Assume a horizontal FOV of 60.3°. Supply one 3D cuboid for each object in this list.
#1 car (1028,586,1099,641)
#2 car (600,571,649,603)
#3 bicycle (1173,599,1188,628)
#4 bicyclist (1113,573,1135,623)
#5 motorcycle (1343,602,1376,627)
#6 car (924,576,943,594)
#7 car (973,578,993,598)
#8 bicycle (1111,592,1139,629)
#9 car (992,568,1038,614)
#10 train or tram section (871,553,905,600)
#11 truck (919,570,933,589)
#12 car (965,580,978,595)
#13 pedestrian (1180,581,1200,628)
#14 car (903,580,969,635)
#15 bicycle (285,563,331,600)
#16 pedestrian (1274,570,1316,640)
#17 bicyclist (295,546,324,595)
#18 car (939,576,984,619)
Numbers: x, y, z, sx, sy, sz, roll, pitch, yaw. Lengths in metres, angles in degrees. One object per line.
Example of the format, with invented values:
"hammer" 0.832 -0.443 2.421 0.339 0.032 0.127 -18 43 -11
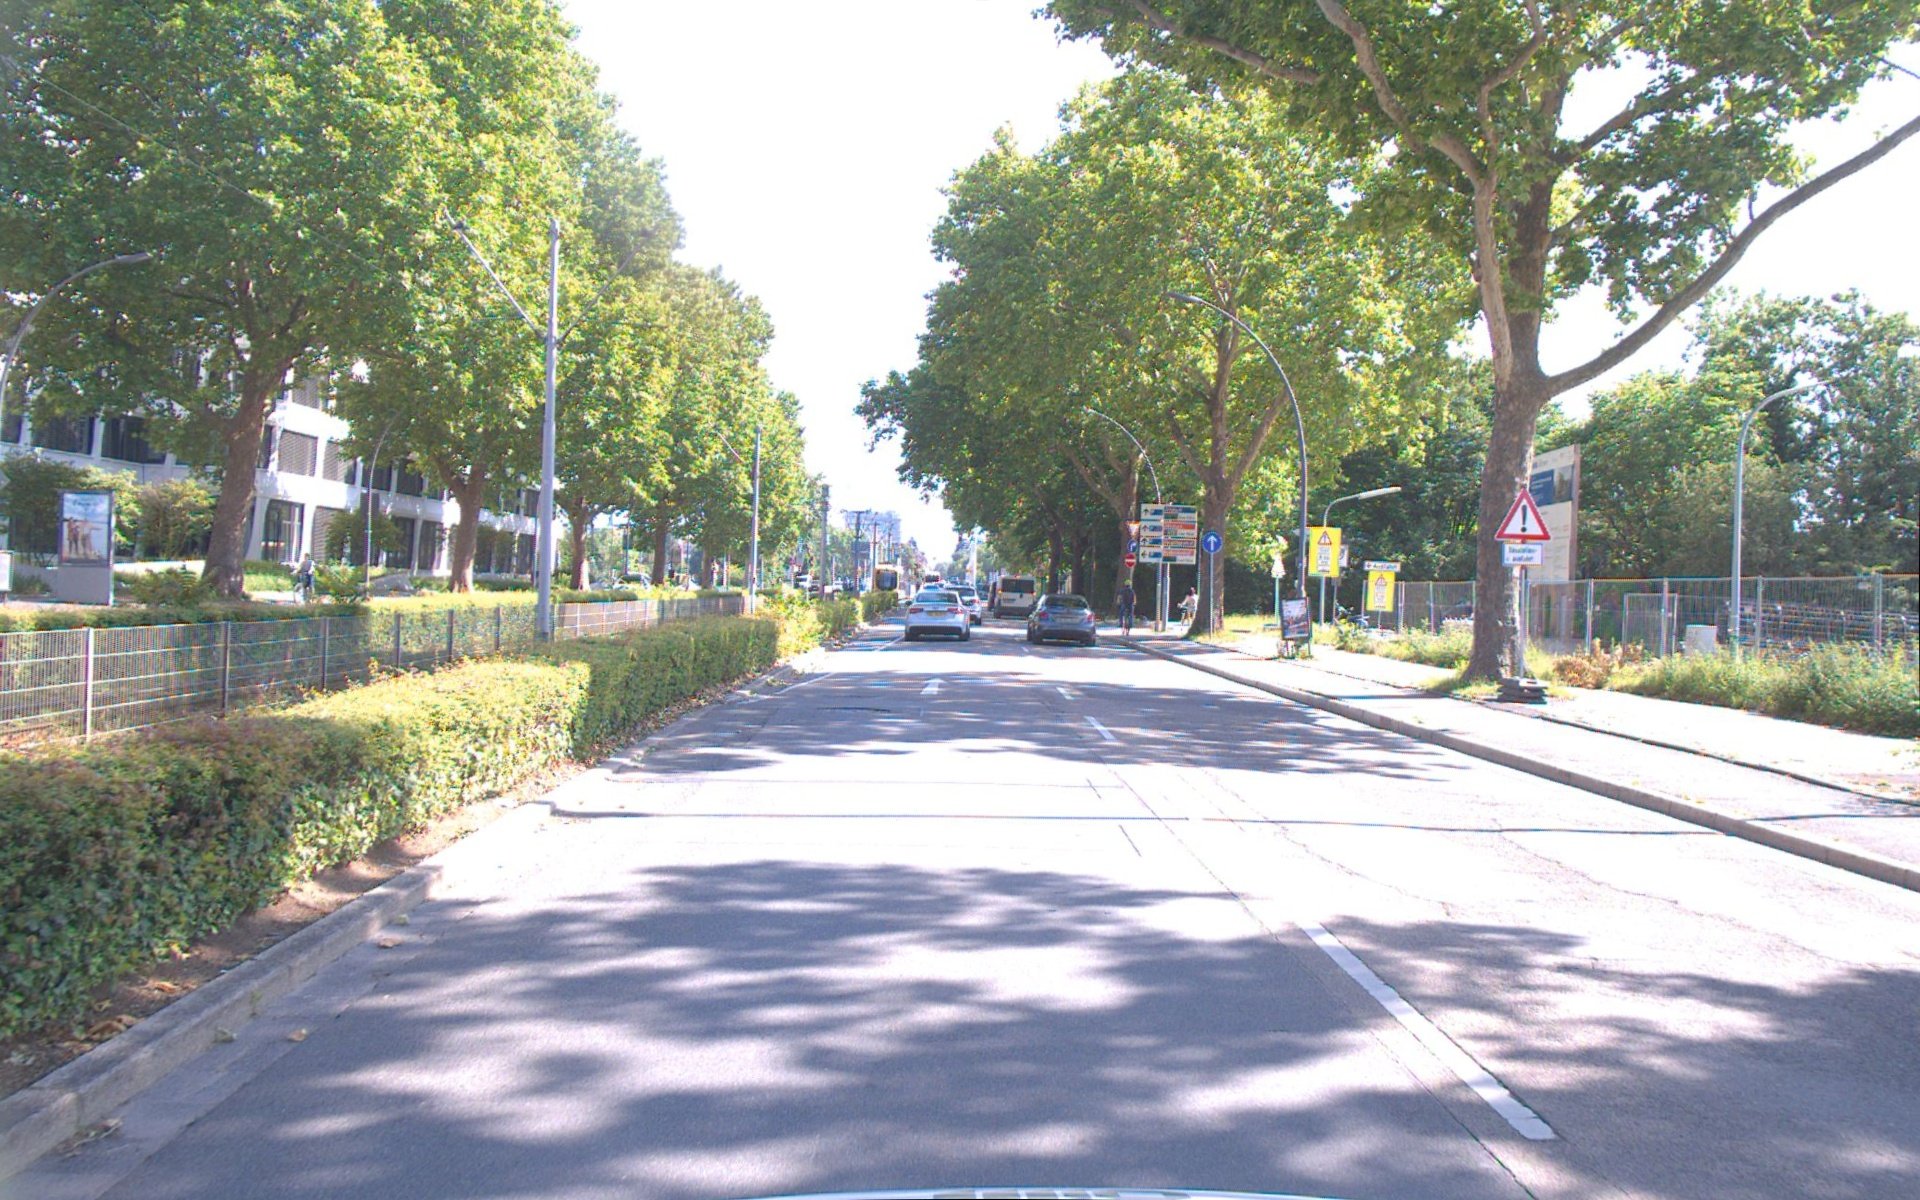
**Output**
"car" 2.936 0.369 47.717 1.746 1.445 4.000 2 0 0
"car" -17.755 -0.696 87.683 1.721 1.597 4.019 2 1 0
"bicycle" 8.774 0.537 65.896 0.342 1.100 1.699 2 0 0
"bicyclist" 5.607 -0.075 56.488 0.621 1.676 0.979 -1 2 -1
"motorcycle" 16.432 0.583 68.023 1.196 0.984 0.470 2 0 -7
"car" -2.589 -1.449 160.546 1.694 1.659 4.000 2 0 0
"car" 2.495 -1.323 179.364 2.029 2.034 4.058 2 0 0
"bicycle" 5.621 0.347 56.451 0.700 1.168 2.178 -1 3 -1
"car" 2.830 -0.460 86.451 2.184 2.250 4.162 2 0 0
"train or tram section" -6.630 -2.153 152.293 2.563 4.085 7.749 2 0 0
"truck" -5.377 -3.207 261.187 1.953 2.838 8.519 2 0 0
"car" 1.568 -1.725 221.114 1.694 1.934 4.000 2 0 0
"pedestrian" 9.193 0.168 66.057 0.619 1.816 0.874 2 0 -1
"car" -0.659 0.183 47.210 1.748 1.445 3.885 2 0 0
"bicycle" -20.952 -0.598 53.191 0.650 1.144 2.031 2 0 0
"pedestrian" 9.583 0.131 47.325 0.919 1.925 1.151 2 0 0
"bicyclist" -20.937 -0.944 53.244 0.641 1.561 0.641 2 0 0
"car" 0.064 -0.114 67.342 1.694 1.633 3.885 2 0 0
